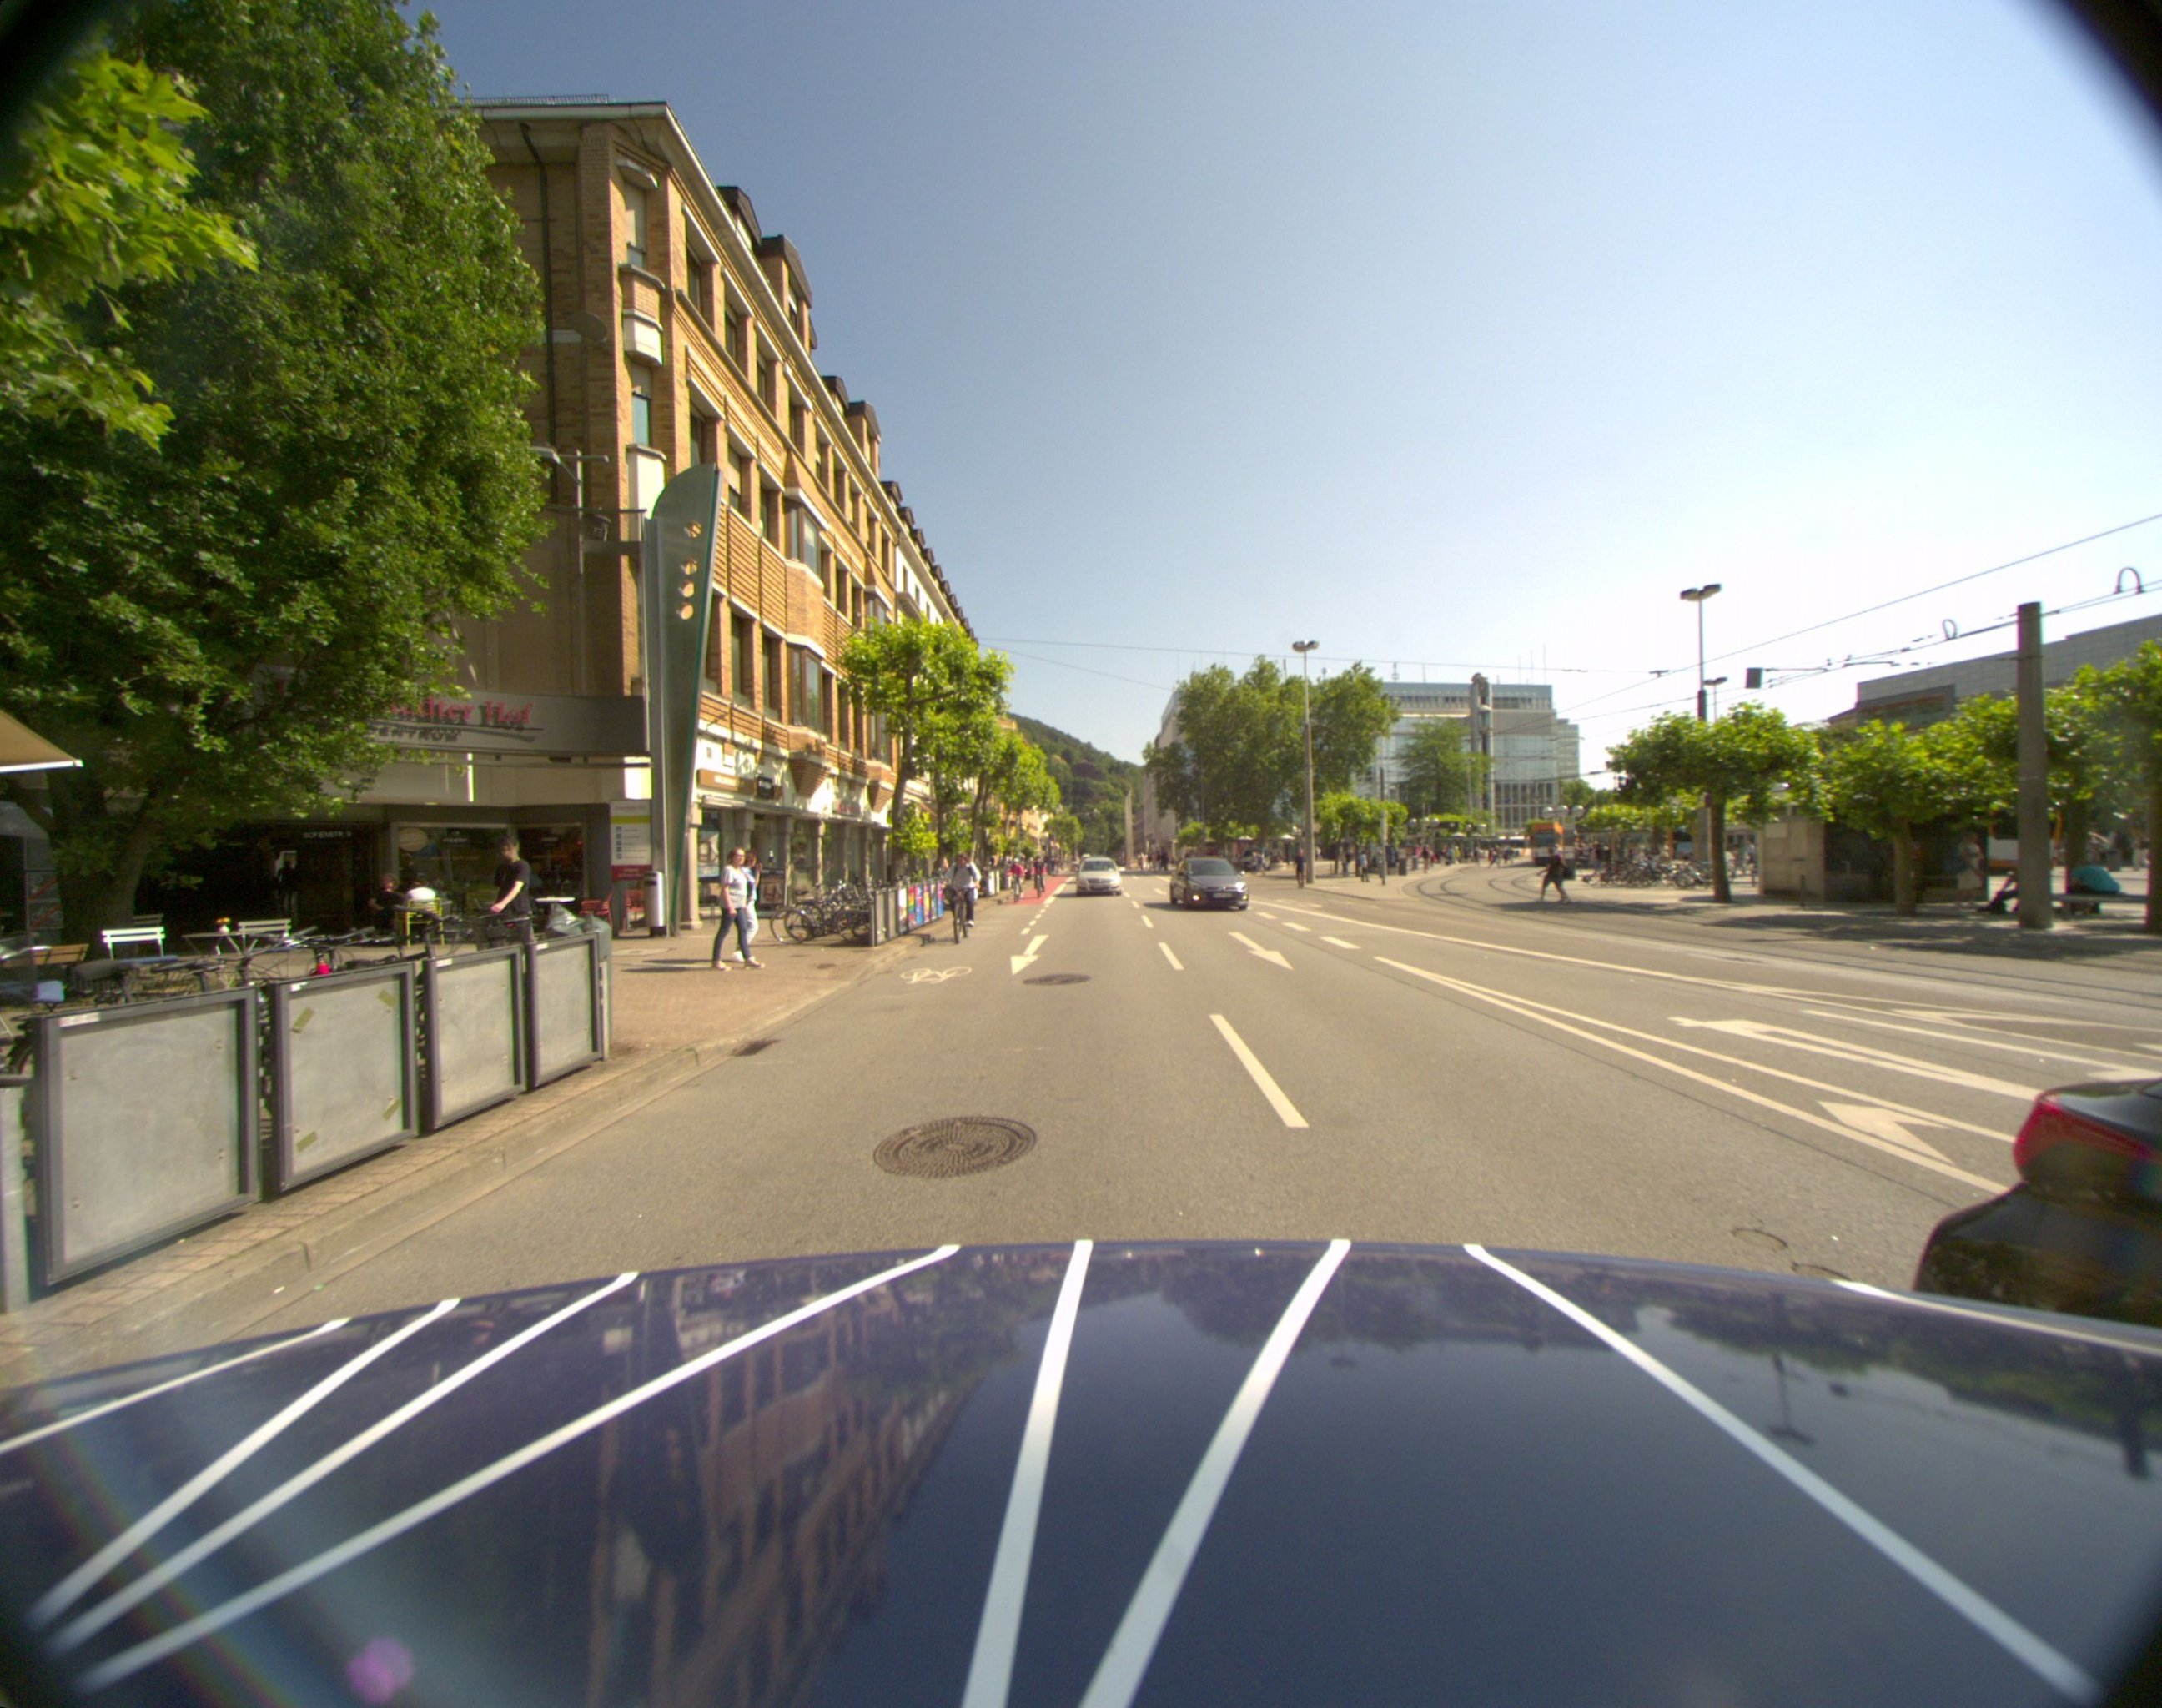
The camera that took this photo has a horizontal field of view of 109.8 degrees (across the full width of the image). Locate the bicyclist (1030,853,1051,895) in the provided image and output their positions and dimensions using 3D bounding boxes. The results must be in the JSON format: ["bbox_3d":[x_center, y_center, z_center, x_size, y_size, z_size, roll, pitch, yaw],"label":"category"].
[{"bbox_3d":[-1.563,0.758,29.457,0.690,1.567,0.778,-3,1,-2],"label":"bicyclist"}]

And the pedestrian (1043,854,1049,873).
[{"bbox_3d":[-3.188,0.882,69.845,0.578,1.774,0.699,0,1,-2],"label":"pedestrian"}]

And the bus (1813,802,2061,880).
[{"bbox_3d":[44.369,-0.705,40.303,3.060,3.400,12.475,-3,0,20],"label":"bus"}]

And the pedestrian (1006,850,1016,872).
[{"bbox_3d":[-5.629,0.564,60.915,0.635,1.782,0.776,-3,1,-1],"label":"pedestrian"}]

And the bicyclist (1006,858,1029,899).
[{"bbox_3d":[-2.241,0.848,26.818,0.690,1.388,0.778,-3,1,-1],"label":"bicyclist"}]

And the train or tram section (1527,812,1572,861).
[{"bbox_3d":[40.096,-1.539,64.868,2.615,3.805,9.536,-2,1,35],"label":"train or tram section"}]

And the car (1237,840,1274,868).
[{"bbox_3d":[13.908,-0.064,60.507,1.995,2.002,5.074,-3,1,22],"label":"car"}]

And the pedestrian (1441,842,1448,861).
[{"bbox_3d":[30.118,-0.185,62.988,0.474,1.540,0.493,1,0,26],"label":"pedestrian"}]

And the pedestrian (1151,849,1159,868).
[{"bbox_3d":[6.953,0.400,71.742,0.612,1.737,0.752,-2,1,-1],"label":"pedestrian"}]

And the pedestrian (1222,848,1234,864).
[{"bbox_3d":[13.236,0.211,68.353,0.752,1.399,0.782,-3,1,-9],"label":"pedestrian"}]

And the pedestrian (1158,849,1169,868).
[{"bbox_3d":[7.196,0.368,66.407,0.630,1.639,0.753,-3,1,27],"label":"pedestrian"}]

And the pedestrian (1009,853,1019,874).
[{"bbox_3d":[-5.775,0.810,65.415,0.721,1.772,0.776,-3,1,-1],"label":"pedestrian"}]

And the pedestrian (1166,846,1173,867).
[{"bbox_3d":[7.857,0.188,67.293,0.517,1.825,0.716,-3,1,9],"label":"pedestrian"}]

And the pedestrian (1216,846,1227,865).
[{"bbox_3d":[13.065,0.128,70.724,0.750,1.737,0.784,-3,1,27],"label":"pedestrian"}]

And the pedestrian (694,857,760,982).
[{"bbox_3d":[-4.755,0.865,10.241,0.601,1.617,0.644,1,1,-5],"label":"pedestrian"}]

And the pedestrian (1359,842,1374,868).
[{"bbox_3d":[19.750,0.088,52.597,0.626,1.784,0.678,1,0,-41],"label":"pedestrian"}]

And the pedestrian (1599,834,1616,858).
[{"bbox_3d":[34.721,-0.519,50.120,0.626,1.588,0.679,1,0,-21],"label":"pedestrian"}]

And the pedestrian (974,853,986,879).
[{"bbox_3d":[-6.871,0.811,51.769,0.658,1.686,0.676,-3,1,2],"label":"pedestrian"}]

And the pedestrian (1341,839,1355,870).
[{"bbox_3d":[17.481,0.050,49.746,0.693,1.996,0.564,-2,1,-8],"label":"pedestrian"}]

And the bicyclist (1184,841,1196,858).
[{"bbox_3d":[9.725,-0.372,68.033,0.831,1.489,1.160,-3,1,-2],"label":"bicyclist"}]

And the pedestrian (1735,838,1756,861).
[{"bbox_3d":[44.703,-0.288,51.108,0.681,1.540,0.846,1,0,-26],"label":"pedestrian"}]

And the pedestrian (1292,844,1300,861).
[{"bbox_3d":[22.527,-0.140,79.460,0.638,1.683,0.753,-3,1,24],"label":"pedestrian"}]

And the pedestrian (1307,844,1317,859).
[{"bbox_3d":[27.487,-0.277,90.488,0.752,1.737,0.782,-3,1,-9],"label":"pedestrian"}]

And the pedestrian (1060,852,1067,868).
[{"bbox_3d":[-1.976,0.656,85.985,0.650,1.770,0.621,0,2,-11],"label":"pedestrian"}]

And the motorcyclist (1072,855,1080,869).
[{"bbox_3d":[-0.515,0.818,77.240,0.736,1.446,0.707,-3,1,1],"label":"motorcyclist"}]

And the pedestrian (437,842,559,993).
[{"bbox_3d":[-7.174,0.744,9.404,0.669,1.771,0.985,-1,1,5],"label":"pedestrian"}]

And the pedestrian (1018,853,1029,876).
[{"bbox_3d":[-3.888,0.703,51.578,0.606,1.529,0.667,-3,1,-1],"label":"pedestrian"}]

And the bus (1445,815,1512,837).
[{"bbox_3d":[57.039,-4.038,108.798,12.201,2.774,2.385,-3,1,-31],"label":"bus"}]

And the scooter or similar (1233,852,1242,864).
[{"bbox_3d":[14.494,0.371,70.410,0.567,1.113,0.539,-3,1,28],"label":"scooter or similar"}]

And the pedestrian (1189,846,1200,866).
[{"bbox_3d":[9.395,0.158,63.092,0.643,1.682,0.642,-3,1,-12],"label":"pedestrian"}]

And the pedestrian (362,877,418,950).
[{"bbox_3d":[-12.667,1.078,13.926,0.791,1.247,0.641,-2,1,44],"label":"pedestrian"}]

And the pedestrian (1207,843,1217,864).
[{"bbox_3d":[11.088,-0.070,64.324,0.516,1.732,0.518,-3,1,-12],"label":"pedestrian"}]

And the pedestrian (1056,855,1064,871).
[{"bbox_3d":[-2.110,0.892,75.893,0.672,1.488,0.637,-2,1,-13],"label":"pedestrian"}]

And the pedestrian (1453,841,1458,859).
[{"bbox_3d":[32.408,-0.374,65.772,0.385,1.540,0.412,1,0,26],"label":"pedestrian"}]

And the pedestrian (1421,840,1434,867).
[{"bbox_3d":[23.425,-0.040,51.367,0.577,1.805,0.605,1,0,0],"label":"pedestrian"}]

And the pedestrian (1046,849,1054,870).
[{"bbox_3d":[-2.699,0.465,66.226,0.578,1.835,0.717,-3,1,-2],"label":"pedestrian"}]

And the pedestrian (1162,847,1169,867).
[{"bbox_3d":[7.715,0.239,69.277,0.595,1.835,0.738,0,1,-1],"label":"pedestrian"}]

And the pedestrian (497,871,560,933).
[{"bbox_3d":[-11.775,1.014,16.203,0.792,1.247,0.640,-3,1,5],"label":"pedestrian"}]

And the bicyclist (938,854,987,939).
[{"bbox_3d":[-2.296,0.813,14.835,0.750,1.567,0.778,-3,1,0],"label":"bicyclist"}]

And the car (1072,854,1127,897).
[{"bbox_3d":[0.731,0.772,29.405,1.918,1.401,4.000,-3,0,2],"label":"car"}]

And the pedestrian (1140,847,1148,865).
[{"bbox_3d":[6.795,0.210,81.977,0.639,1.903,0.733,-3,1,-1],"label":"pedestrian"}]

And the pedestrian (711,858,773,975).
[{"bbox_3d":[-4.879,0.874,10.962,0.698,1.617,0.701,0,1,-14],"label":"pedestrian"}]

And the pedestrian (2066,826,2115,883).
[{"bbox_3d":[29.038,0.008,21.859,0.608,1.598,0.549,1,0,3],"label":"pedestrian"}]

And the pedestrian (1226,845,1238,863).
[{"bbox_3d":[13.442,0.020,67.456,0.752,1.587,0.782,-3,1,-9],"label":"pedestrian"}]

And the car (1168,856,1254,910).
[{"bbox_3d":[3.717,0.793,22.328,1.699,1.397,3.999,0,1,-2],"label":"car"}]

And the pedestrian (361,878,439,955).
[{"bbox_3d":[-11.985,1.082,13.401,0.640,1.247,0.792,-3,1,-11],"label":"pedestrian"}]

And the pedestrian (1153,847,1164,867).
[{"bbox_3d":[6.964,0.275,68.149,0.537,1.773,0.745,-2,1,36],"label":"pedestrian"}]

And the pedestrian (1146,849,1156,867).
[{"bbox_3d":[7.038,0.380,76.212,0.876,1.737,0.733,-3,1,-1],"label":"pedestrian"}]

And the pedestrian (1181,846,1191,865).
[{"bbox_3d":[9.976,0.134,72.232,0.751,1.737,0.667,-3,1,-1],"label":"pedestrian"}]

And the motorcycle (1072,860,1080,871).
[{"bbox_3d":[-0.506,1.158,77.231,0.736,1.086,1.898,-3,1,1],"label":"motorcycle"}]

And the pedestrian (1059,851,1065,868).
[{"bbox_3d":[-2.021,0.613,81.497,0.578,1.863,0.680,0,0,-11],"label":"pedestrian"}]
